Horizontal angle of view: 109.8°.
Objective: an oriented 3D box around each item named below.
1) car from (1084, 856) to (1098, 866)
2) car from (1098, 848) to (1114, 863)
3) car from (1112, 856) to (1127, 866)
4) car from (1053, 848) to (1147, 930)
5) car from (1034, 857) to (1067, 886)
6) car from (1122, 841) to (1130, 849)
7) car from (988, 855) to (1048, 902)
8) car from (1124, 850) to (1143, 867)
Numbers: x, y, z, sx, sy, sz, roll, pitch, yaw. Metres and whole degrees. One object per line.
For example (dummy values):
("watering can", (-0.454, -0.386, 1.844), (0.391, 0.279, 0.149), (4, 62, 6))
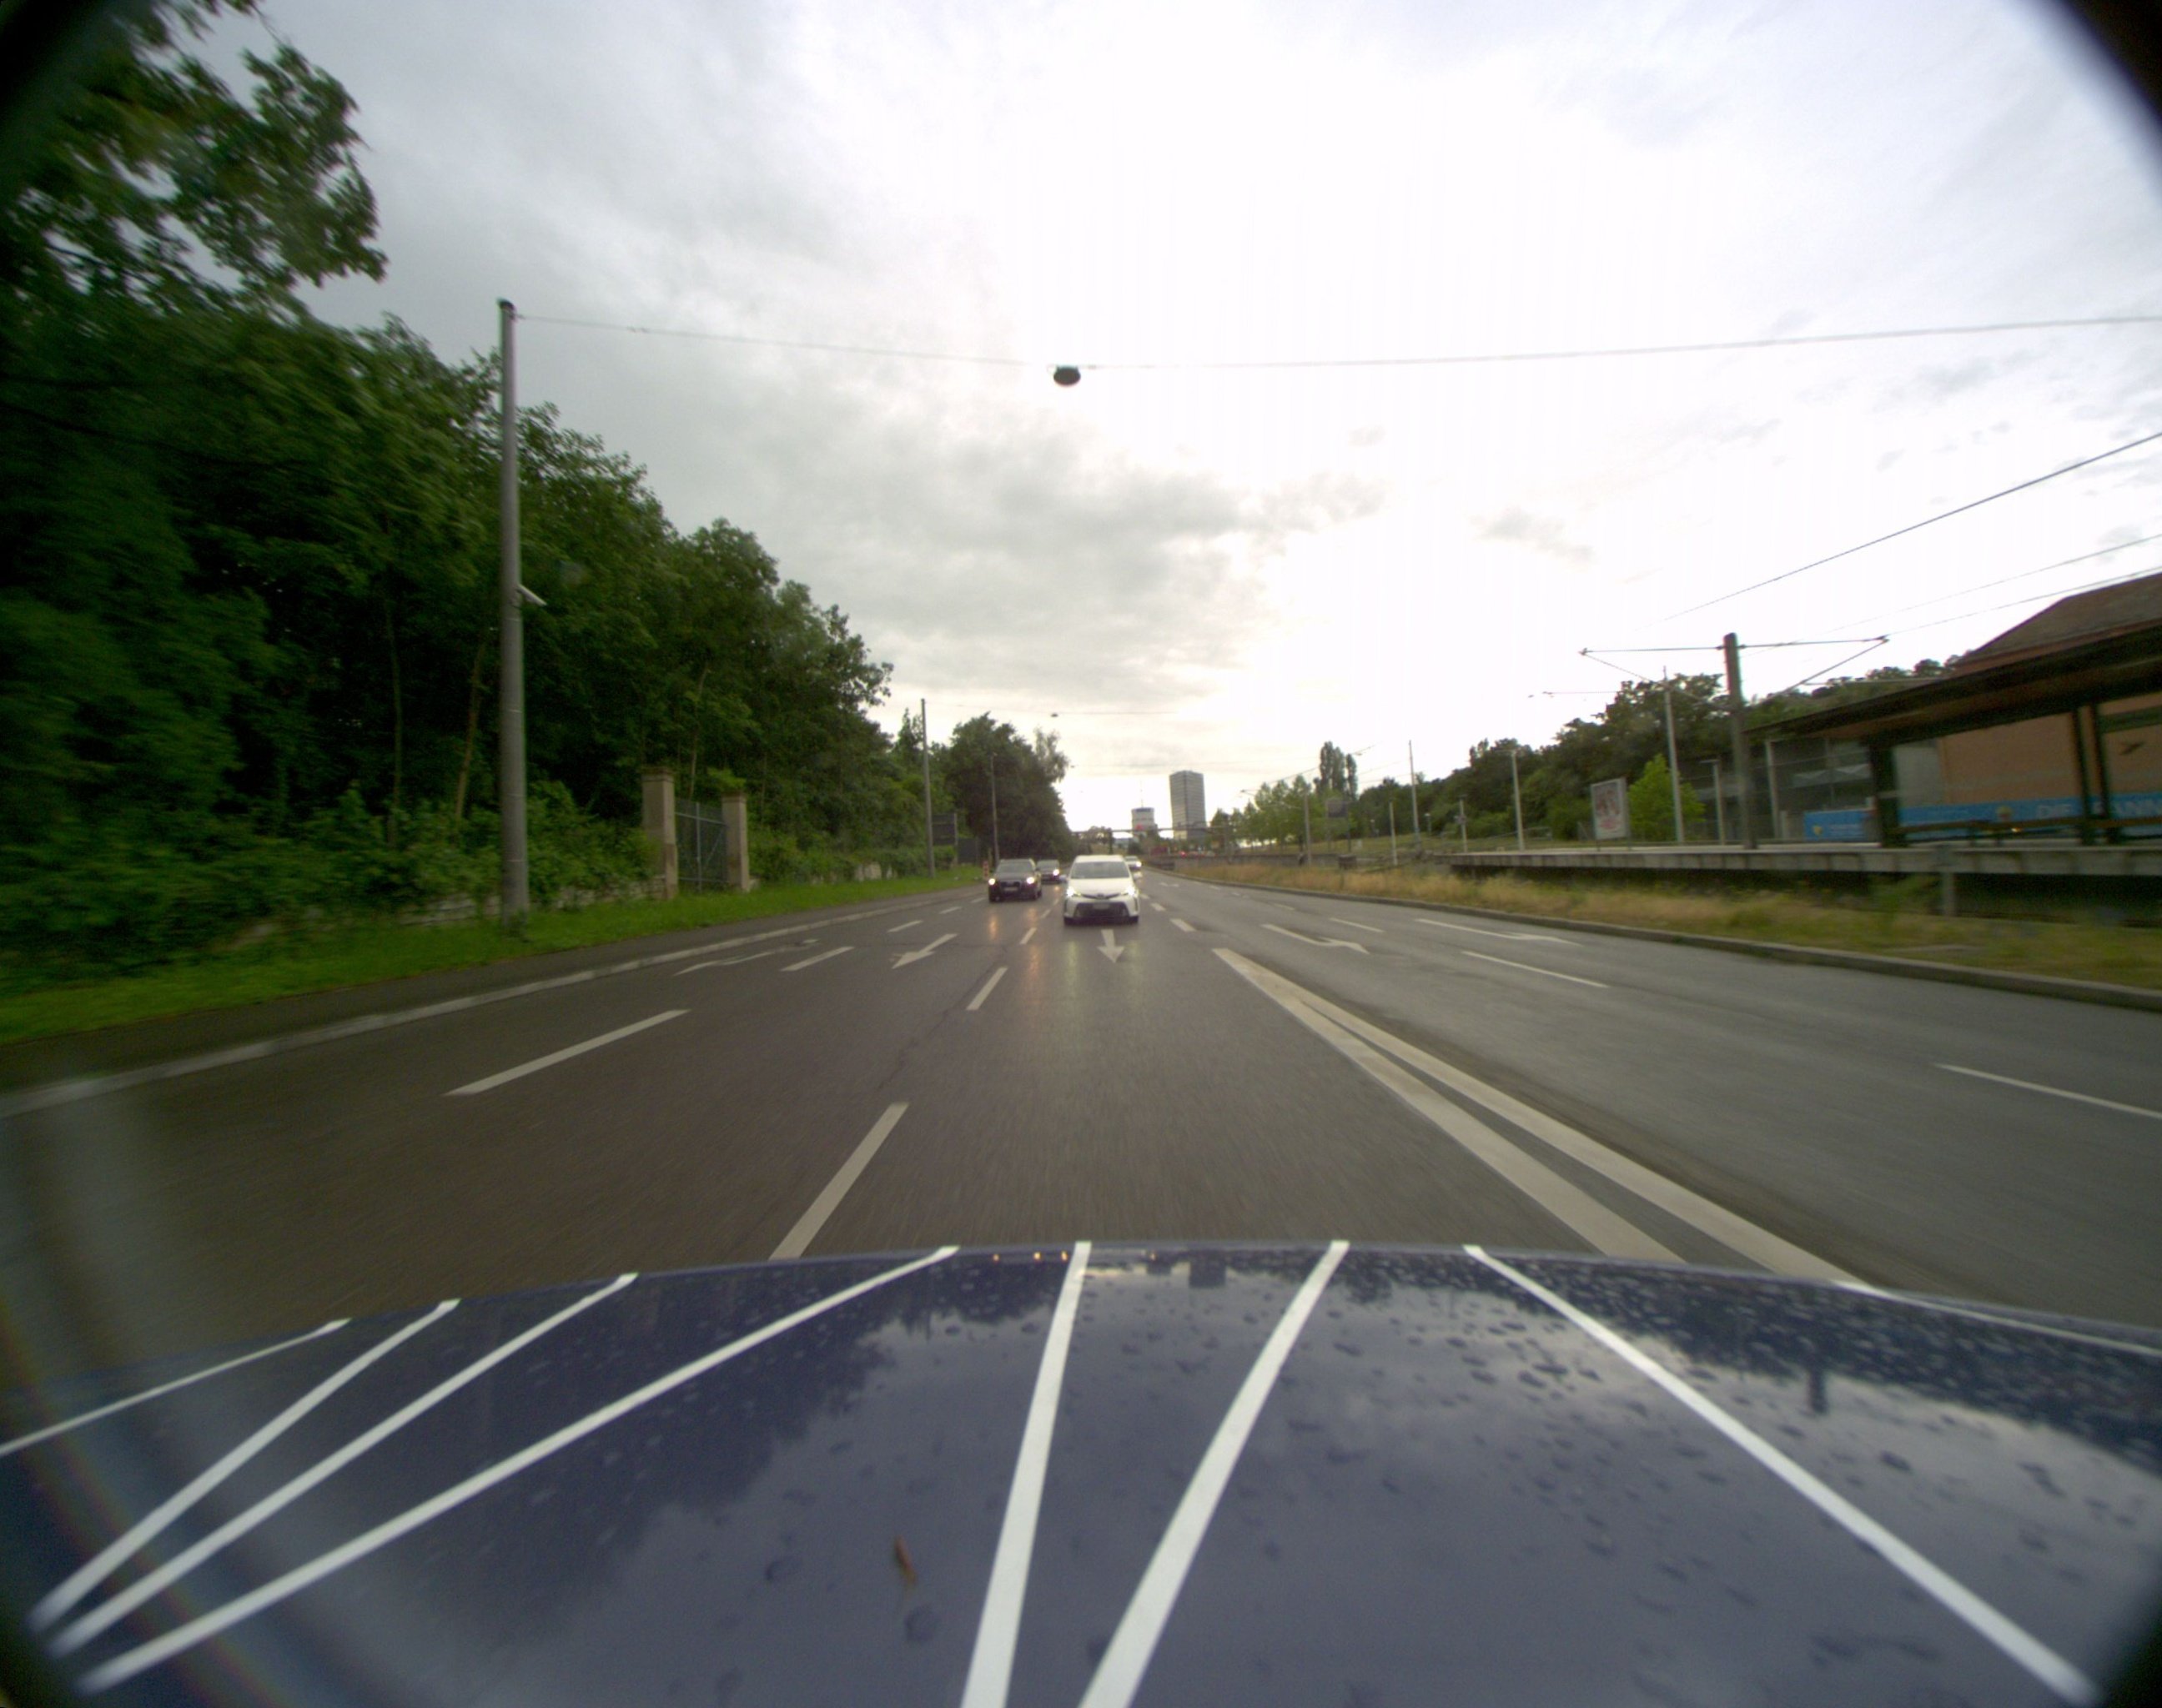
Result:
("car", (1.476, 1.057, 114.797), (1.802, 1.463, 3.999), (-3, 0, -2))
("car", (2.823, 0.162, 87.077), (1.738, 1.578, 4.000), (-2, 1, 2))
("car", (6.007, 1.124, 118.370), (1.802, 1.462, 3.999), (-3, -1, -4))
("car", (0.361, 0.766, 18.784), (1.856, 1.741, 3.998), (-3, 1, -4))
("car", (-1.843, 1.054, 47.317), (1.738, 1.578, 4.000), (-2, 1, 2))
("car", (10.198, -2.019, 172.041), (1.801, 1.463, 4.001), (-3, 0, 4))
("car", (-2.387, 0.907, 29.861), (1.855, 1.578, 4.000), (-2, 1, 2))
("car", (5.205, 0.437, 75.783), (1.738, 1.578, 4.000), (-2, 1, 2))
